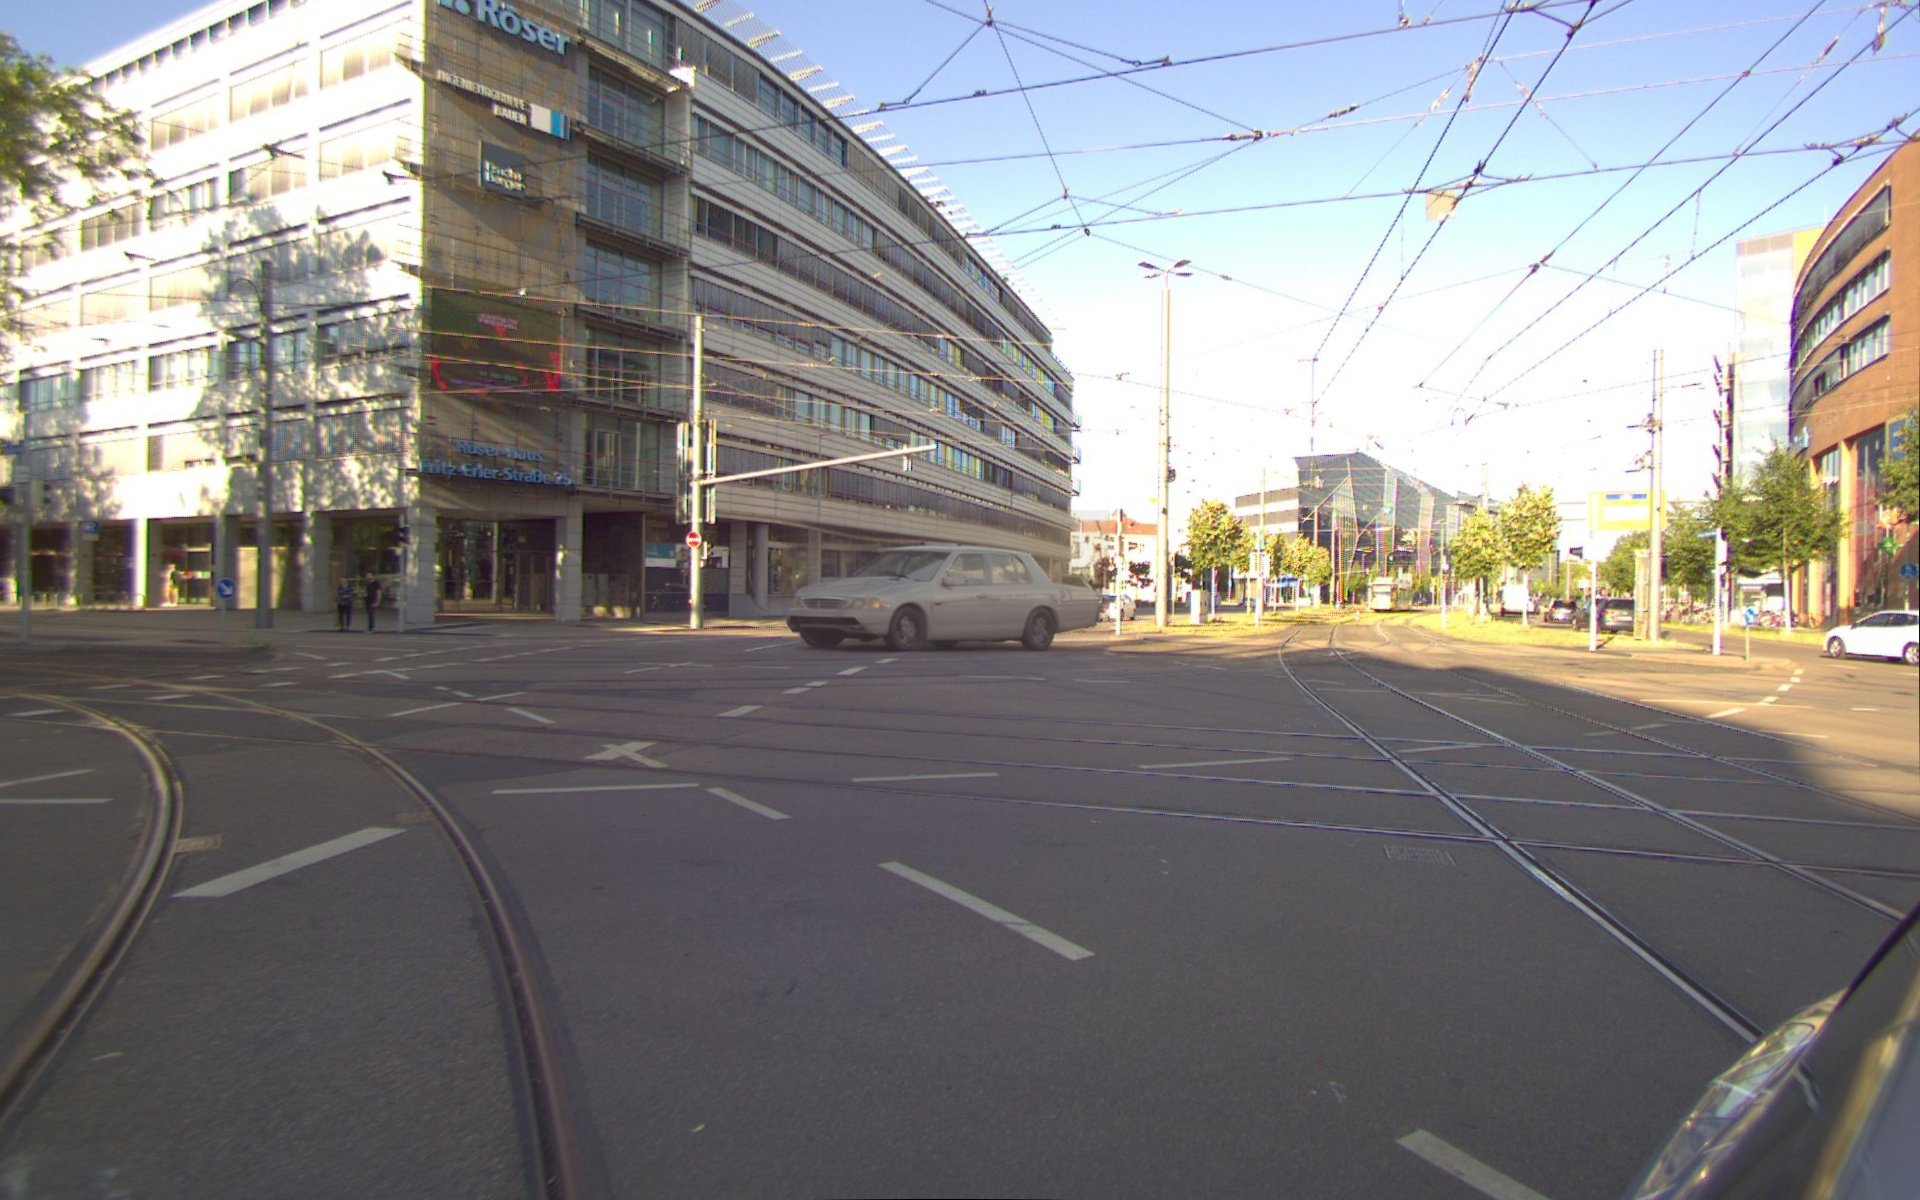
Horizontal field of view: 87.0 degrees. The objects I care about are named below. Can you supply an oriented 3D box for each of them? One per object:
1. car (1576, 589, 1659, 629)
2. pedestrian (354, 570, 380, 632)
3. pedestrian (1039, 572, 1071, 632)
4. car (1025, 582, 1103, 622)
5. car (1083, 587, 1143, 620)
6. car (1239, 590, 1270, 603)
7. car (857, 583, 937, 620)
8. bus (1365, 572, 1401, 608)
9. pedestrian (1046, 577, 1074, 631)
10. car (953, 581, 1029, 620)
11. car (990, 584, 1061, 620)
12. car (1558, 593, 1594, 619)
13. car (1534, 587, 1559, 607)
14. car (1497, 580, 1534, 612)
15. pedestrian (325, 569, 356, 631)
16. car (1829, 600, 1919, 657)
[{"bbox_3d":[28.883,0.369,44.609,1.594,1.623,4.160,3,1,12],"label":"car"},{"bbox_3d":[-17.868,0.020,30.487,0.536,1.846,0.374,1,0,0],"label":"pedestrian"},{"bbox_3d":[3.002,0.046,32.062,0.949,1.865,0.698,1,0,3],"label":"pedestrian"},{"bbox_3d":[4.611,0.095,44.169,1.887,1.642,4.479,1,0,28],"label":"car"},{"bbox_3d":[8.052,0.207,53.019,1.887,1.642,4.131,1,0,28],"label":"car"},{"bbox_3d":[42.659,-0.543,146.546,3.962,1.883,1.981,1,1,28],"label":"car"},{"bbox_3d":[-2.885,0.091,47.336,1.887,1.642,4.131,1,0,28],"label":"car"},{"bbox_3d":[43.257,-0.940,103.734,2.691,3.451,9.607,1,0,19],"label":"bus"},{"bbox_3d":[3.229,0.123,32.727,0.831,1.709,0.647,1,1,3],"label":"pedestrian"},{"bbox_3d":[1.433,0.037,45.310,1.887,1.642,3.828,1,0,28],"label":"car"},{"bbox_3d":[3.213,0.107,48.924,1.887,1.642,4.131,1,0,28],"label":"car"},{"bbox_3d":[41.450,0.382,68.098,1.853,1.653,4.210,1,0,35],"label":"car"},{"bbox_3d":[60.703,-0.283,104.752,1.604,2.039,3.831,1,1,39],"label":"car"},{"bbox_3d":[45.719,-0.327,83.203,1.988,2.512,5.896,1,0,36],"label":"car"},{"bbox_3d":[-18.586,-0.007,30.375,0.578,1.846,0.544,1,0,0],"label":"pedestrian"},{"bbox_3d":[25.625,0.747,27.003,1.607,1.470,3.995,1,0,4],"label":"car"}]
